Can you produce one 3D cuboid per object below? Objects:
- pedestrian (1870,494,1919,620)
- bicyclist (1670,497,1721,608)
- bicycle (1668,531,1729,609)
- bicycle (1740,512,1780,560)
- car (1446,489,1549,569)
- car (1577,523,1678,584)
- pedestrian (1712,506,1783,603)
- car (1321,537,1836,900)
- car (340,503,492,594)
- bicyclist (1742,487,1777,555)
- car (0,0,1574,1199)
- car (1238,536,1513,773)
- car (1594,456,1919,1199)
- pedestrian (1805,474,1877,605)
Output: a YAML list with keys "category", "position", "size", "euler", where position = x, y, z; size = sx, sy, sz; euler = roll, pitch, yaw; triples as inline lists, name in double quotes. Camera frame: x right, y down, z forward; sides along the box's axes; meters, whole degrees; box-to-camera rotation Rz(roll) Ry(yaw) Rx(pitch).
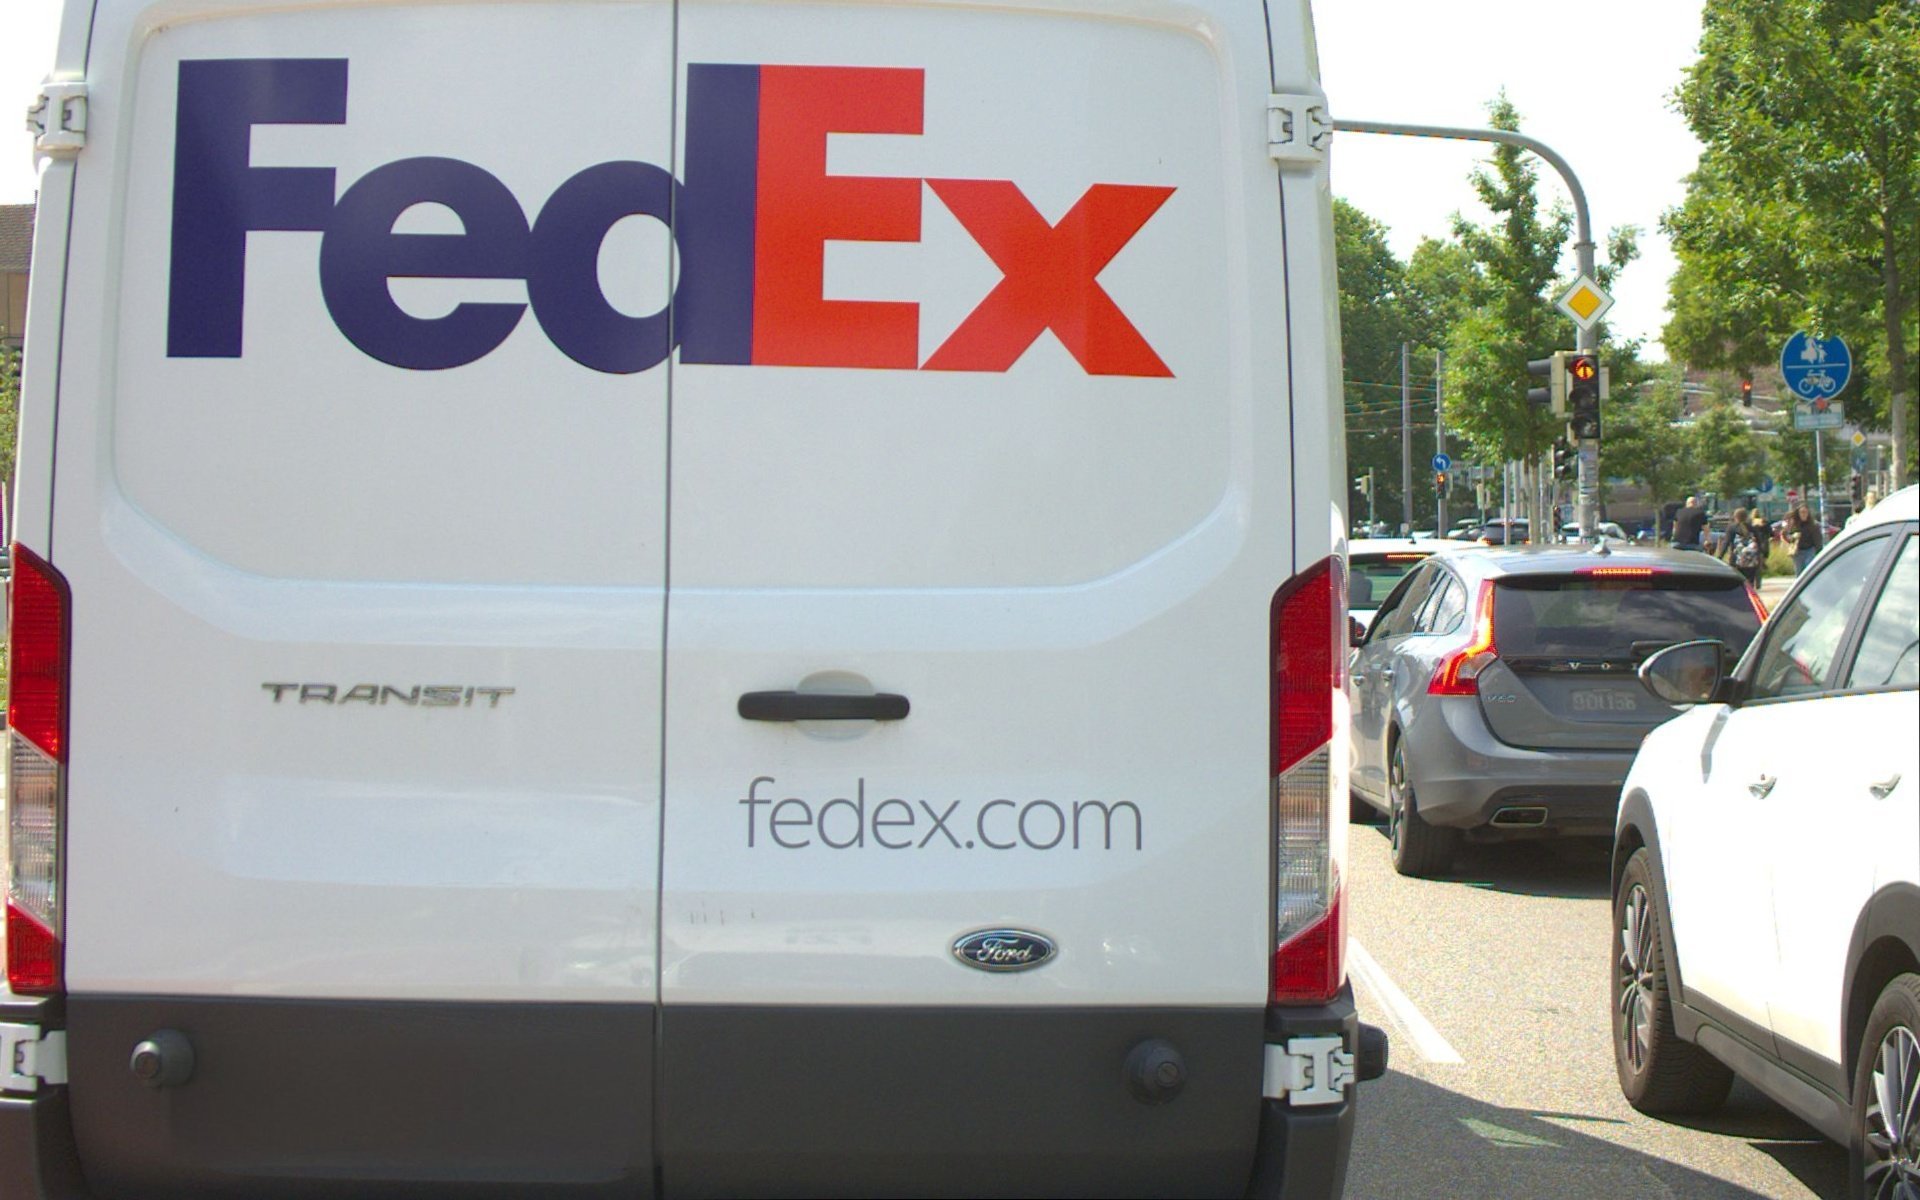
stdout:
- category: "pedestrian"
  position: [15.183, -0.702, 55.360]
  size: [0.845, 2.007, 0.741]
  euler: [0, 1, -1]
- category: "bicyclist"
  position: [12.373, -0.807, 57.828]
  size: [0.592, 1.838, 1.121]
  euler: [0, 2, 25]
- category: "bicycle"
  position: [12.482, -0.520, 58.064]
  size: [0.603, 1.285, 2.068]
  euler: [0, 2, 24]
- category: "bicycle"
  position: [17.291, -1.385, 74.320]
  size: [0.546, 1.027, 1.926]
  euler: [0, 1, 4]
- category: "car"
  position: [14.147, -1.853, 90.300]
  size: [2.094, 2.007, 4.640]
  euler: [0, 1, 16]
- category: "car"
  position: [20.119, -1.393, 103.518]
  size: [1.996, 1.787, 4.366]
  euler: [0, 1, 25]
- category: "pedestrian"
  position: [11.399, -0.665, 49.773]
  size: [0.845, 1.384, 0.741]
  euler: [0, 1, -1]
- category: "car"
  position: [2.743, 0.453, 16.049]
  size: [1.798, 1.456, 3.838]
  euler: [0, 1, 1]
- category: "car"
  position: [-12.377, -1.178, 78.425]
  size: [1.995, 2.007, 3.998]
  euler: [0, 1, 14]
- category: "bicyclist"
  position: [17.292, -1.714, 74.362]
  size: [0.550, 1.469, 0.971]
  euler: [0, 1, 3]
- category: "car"
  position: [-0.431, 0.087, 7.142]
  size: [2.140, 2.643, 5.705]
  euler: [0, 1, -3]
- category: "car"
  position: [2.684, 0.303, 22.784]
  size: [1.484, 1.423, 3.433]
  euler: [0, 1, 1]
- category: "car"
  position: [2.585, 0.551, 7.377]
  size: [1.798, 1.681, 4.000]
  euler: [0, 1, 1]
- category: "pedestrian"
  position: [13.934, -0.964, 54.382]
  size: [0.844, 2.051, 0.741]
  euler: [-1, 1, -13]
